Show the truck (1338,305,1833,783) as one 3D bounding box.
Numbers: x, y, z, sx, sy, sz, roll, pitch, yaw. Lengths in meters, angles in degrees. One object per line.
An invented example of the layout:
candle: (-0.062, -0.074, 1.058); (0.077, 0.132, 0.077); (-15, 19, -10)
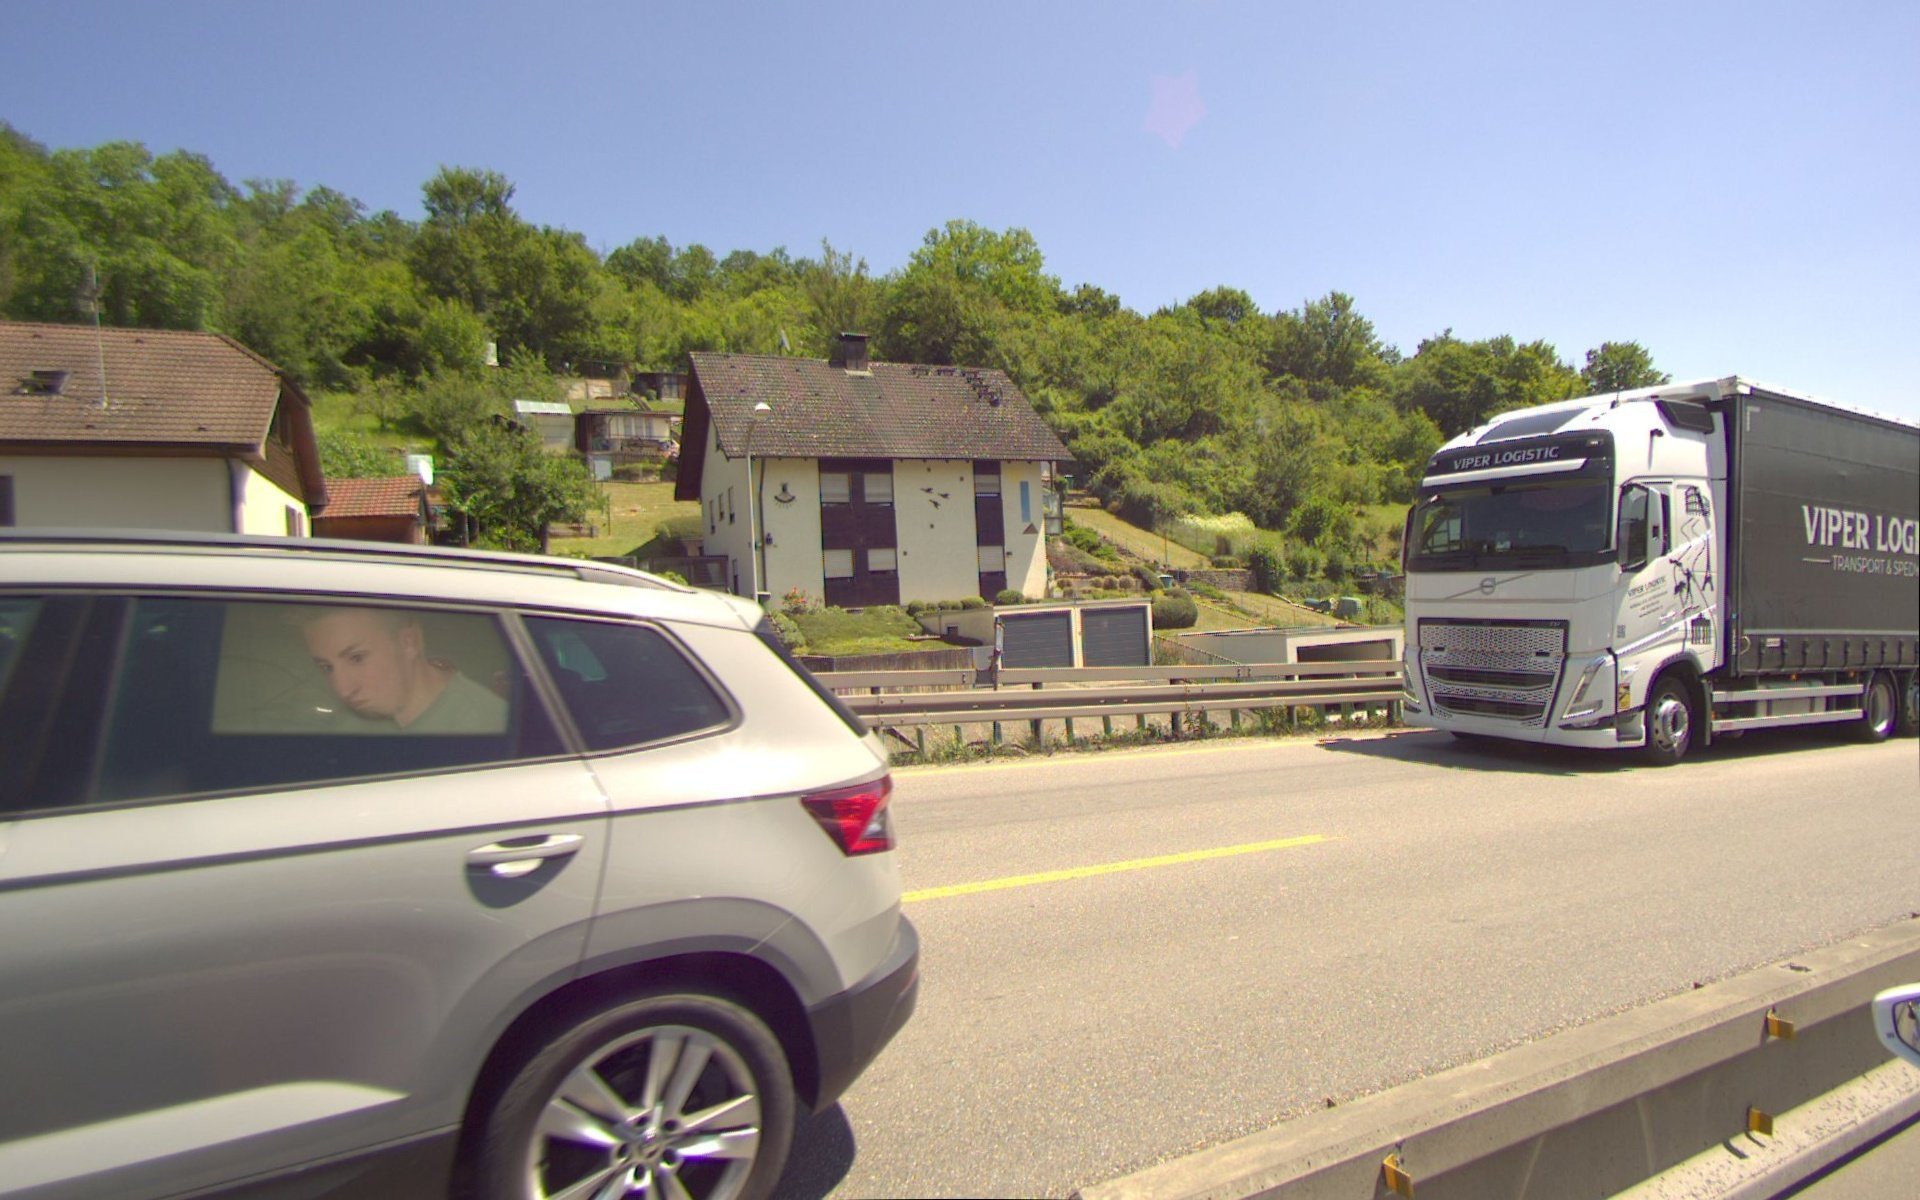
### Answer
truck: (7.164, -0.474, 11.514); (4.896, 4.341, 2.740); (1, 0, -29)

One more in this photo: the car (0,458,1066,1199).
car: (-1.935, 0.588, 2.391); (4.022, 1.632, 1.850); (2, -1, -31)

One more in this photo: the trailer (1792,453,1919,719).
trailer: (18.570, -0.189, 17.837); (8.524, 4.125, 2.747); (0, 0, -28)

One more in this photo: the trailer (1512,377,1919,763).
trailer: (11.344, -0.301, 13.868); (7.910, 4.125, 2.745); (0, 0, -29)
